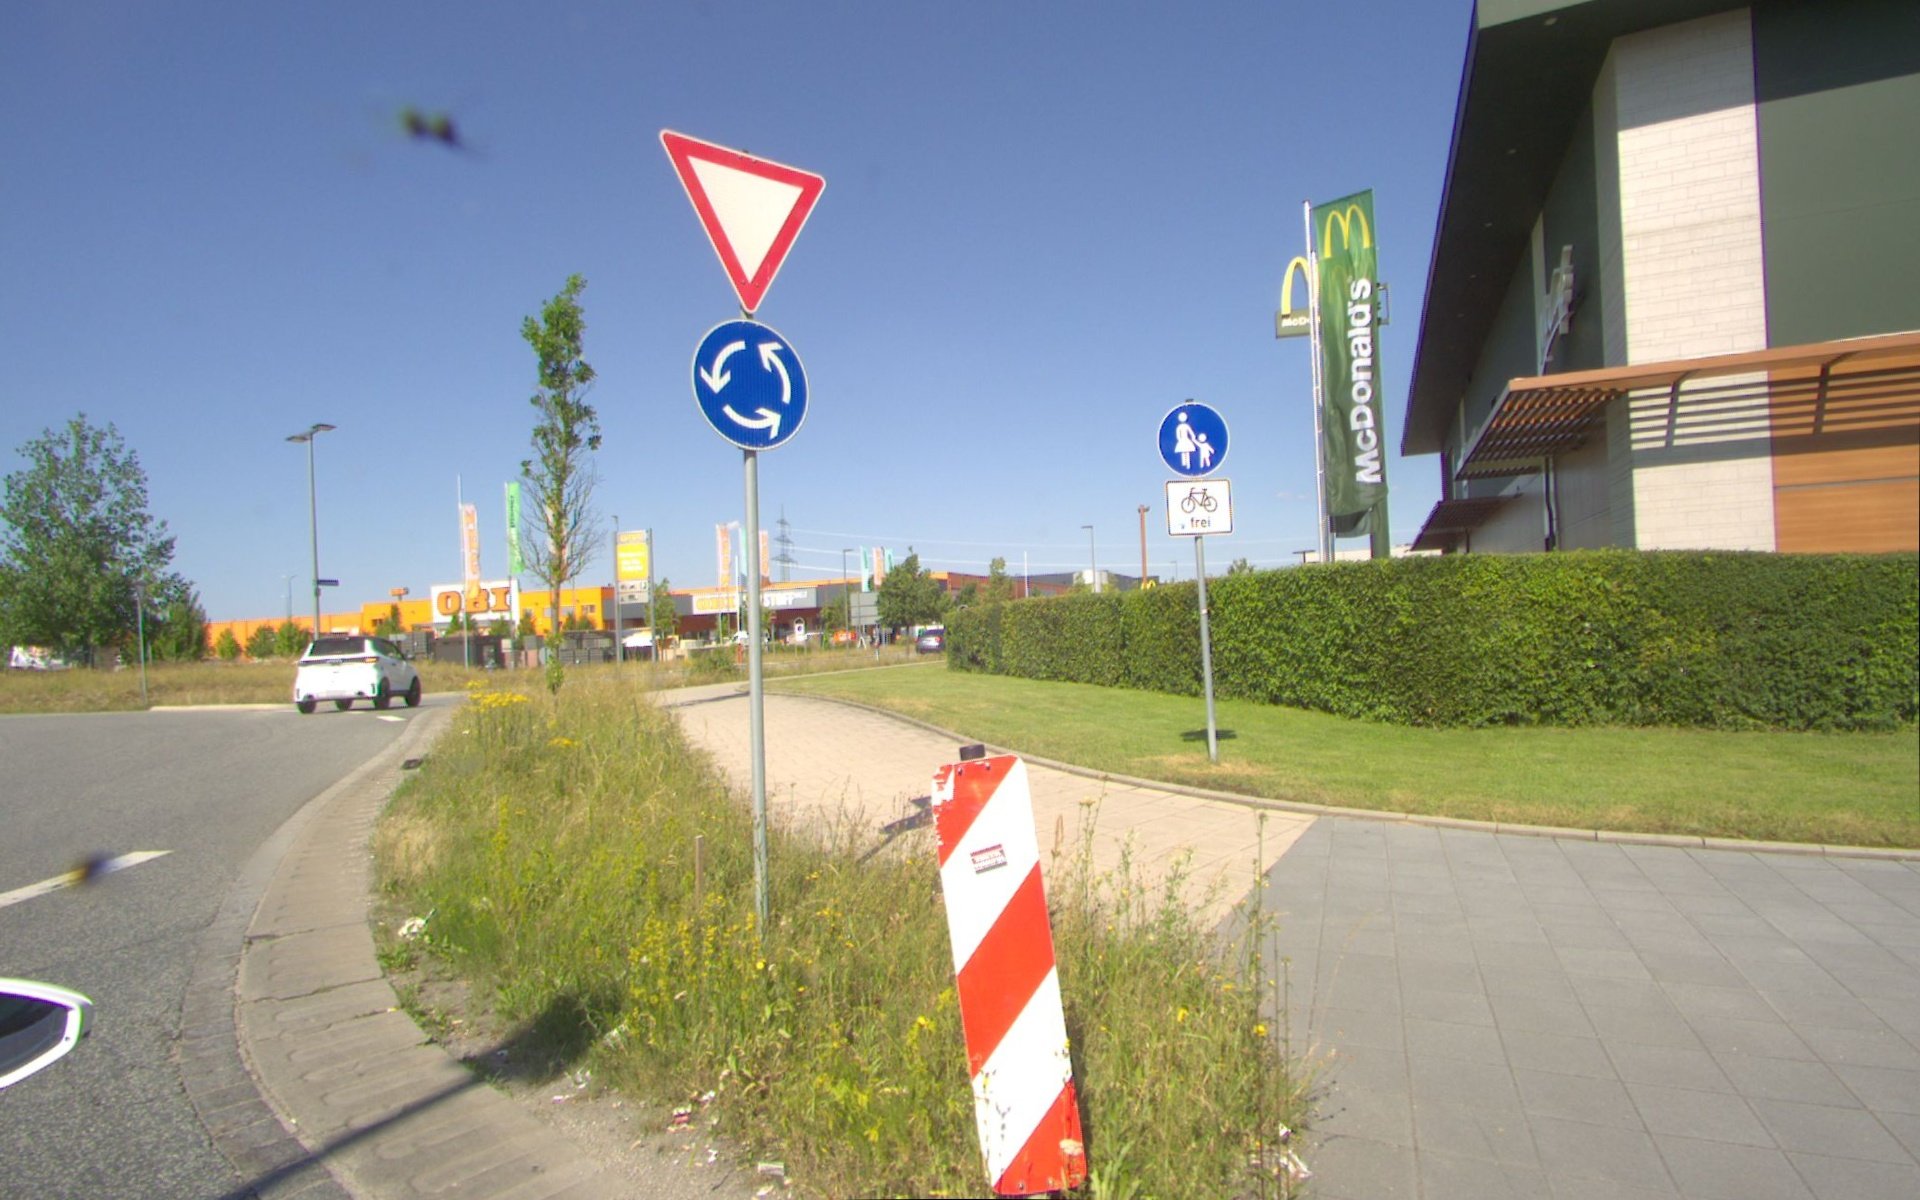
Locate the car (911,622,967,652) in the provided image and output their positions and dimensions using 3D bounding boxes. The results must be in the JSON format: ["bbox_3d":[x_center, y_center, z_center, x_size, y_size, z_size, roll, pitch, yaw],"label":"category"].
[{"bbox_3d":[-1.205,2.199,59.836,1.801,1.605,4.157,-2,-1,22],"label":"car"}]

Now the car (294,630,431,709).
[{"bbox_3d":[-12.219,1.371,20.688,1.486,1.459,3.347,0,-1,-13],"label":"car"}]

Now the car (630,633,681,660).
[{"bbox_3d":[-22.119,3.430,72.894,1.670,1.863,3.770,-3,-3,18],"label":"car"}]
